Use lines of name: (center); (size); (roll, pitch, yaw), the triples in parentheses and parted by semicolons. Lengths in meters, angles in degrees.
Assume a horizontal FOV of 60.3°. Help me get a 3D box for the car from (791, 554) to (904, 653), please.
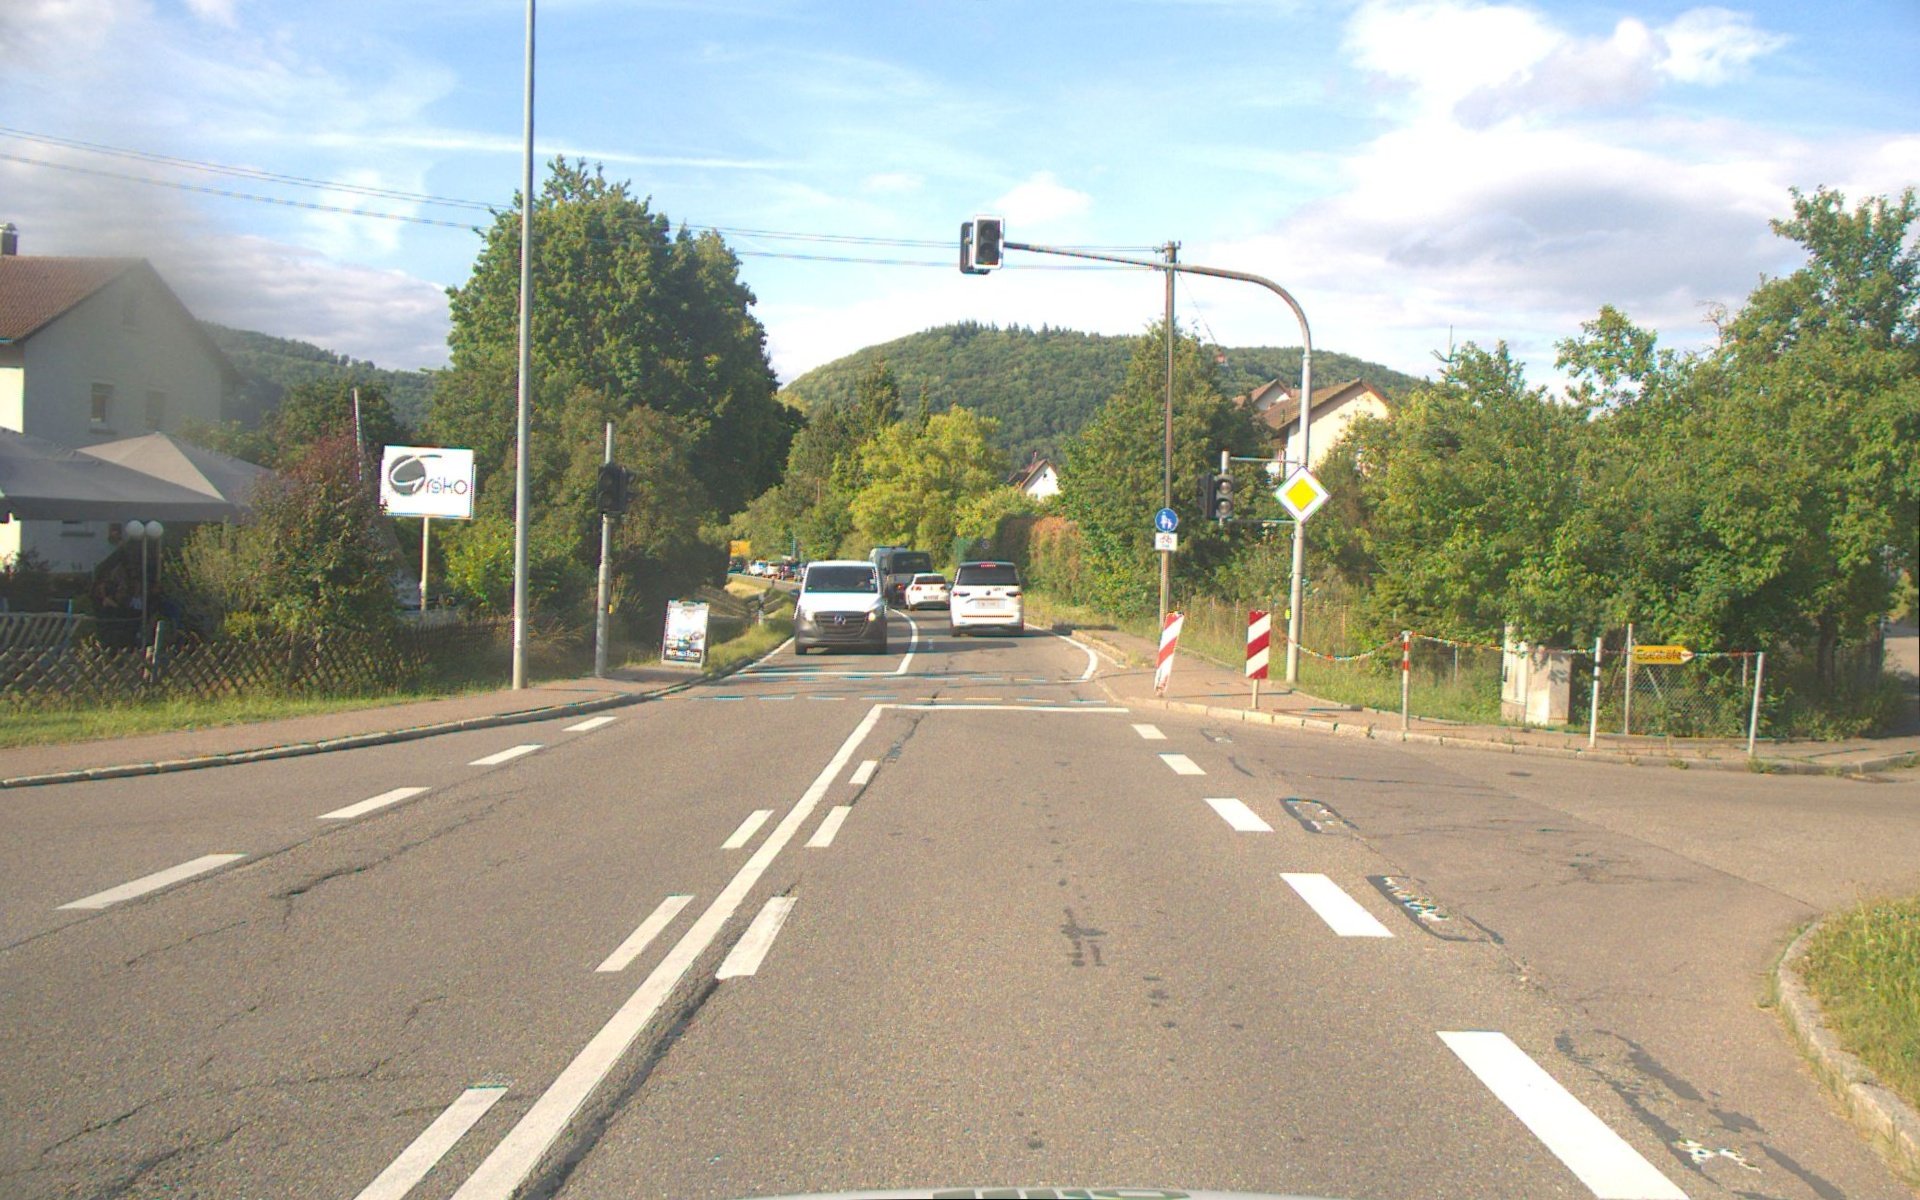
car: (-2.305, 0.018, 35.220); (1.952, 1.937, 5.254); (-1, 1, 1)

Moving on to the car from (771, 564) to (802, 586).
car: (-14.793, -2.133, 140.913); (2.006, 1.713, 3.986); (1, 1, -14)

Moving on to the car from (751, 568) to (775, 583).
car: (-18.893, -2.350, 158.577); (1.909, 1.449, 3.987); (0, 1, -13)

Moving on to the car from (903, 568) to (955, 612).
car: (-1.305, -0.434, 67.696); (1.954, 1.713, 3.998); (0, 1, -3)

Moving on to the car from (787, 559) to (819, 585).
car: (-12.554, -2.225, 132.305); (1.960, 2.048, 3.985); (0, 1, -14)

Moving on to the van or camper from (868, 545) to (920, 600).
van or camper: (-3.682, -1.526, 91.589); (2.369, 2.955, 6.122); (0, 1, -7)

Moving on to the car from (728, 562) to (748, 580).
car: (-23.757, -3.100, 176.888); (1.742, 1.814, 3.984); (0, 1, -15)

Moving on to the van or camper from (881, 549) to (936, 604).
van or camper: (-2.433, -1.108, 76.718); (2.138, 2.426, 5.362); (0, 1, -6)

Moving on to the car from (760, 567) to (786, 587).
car: (-16.939, -2.078, 149.481); (1.908, 1.713, 3.988); (0, 1, -12)

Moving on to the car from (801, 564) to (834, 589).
car: (-10.827, -1.796, 125.649); (1.767, 1.825, 3.984); (1, 2, -16)

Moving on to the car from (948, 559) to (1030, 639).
car: (0.711, -0.081, 43.991); (1.953, 1.909, 4.871); (3, 1, -1)
